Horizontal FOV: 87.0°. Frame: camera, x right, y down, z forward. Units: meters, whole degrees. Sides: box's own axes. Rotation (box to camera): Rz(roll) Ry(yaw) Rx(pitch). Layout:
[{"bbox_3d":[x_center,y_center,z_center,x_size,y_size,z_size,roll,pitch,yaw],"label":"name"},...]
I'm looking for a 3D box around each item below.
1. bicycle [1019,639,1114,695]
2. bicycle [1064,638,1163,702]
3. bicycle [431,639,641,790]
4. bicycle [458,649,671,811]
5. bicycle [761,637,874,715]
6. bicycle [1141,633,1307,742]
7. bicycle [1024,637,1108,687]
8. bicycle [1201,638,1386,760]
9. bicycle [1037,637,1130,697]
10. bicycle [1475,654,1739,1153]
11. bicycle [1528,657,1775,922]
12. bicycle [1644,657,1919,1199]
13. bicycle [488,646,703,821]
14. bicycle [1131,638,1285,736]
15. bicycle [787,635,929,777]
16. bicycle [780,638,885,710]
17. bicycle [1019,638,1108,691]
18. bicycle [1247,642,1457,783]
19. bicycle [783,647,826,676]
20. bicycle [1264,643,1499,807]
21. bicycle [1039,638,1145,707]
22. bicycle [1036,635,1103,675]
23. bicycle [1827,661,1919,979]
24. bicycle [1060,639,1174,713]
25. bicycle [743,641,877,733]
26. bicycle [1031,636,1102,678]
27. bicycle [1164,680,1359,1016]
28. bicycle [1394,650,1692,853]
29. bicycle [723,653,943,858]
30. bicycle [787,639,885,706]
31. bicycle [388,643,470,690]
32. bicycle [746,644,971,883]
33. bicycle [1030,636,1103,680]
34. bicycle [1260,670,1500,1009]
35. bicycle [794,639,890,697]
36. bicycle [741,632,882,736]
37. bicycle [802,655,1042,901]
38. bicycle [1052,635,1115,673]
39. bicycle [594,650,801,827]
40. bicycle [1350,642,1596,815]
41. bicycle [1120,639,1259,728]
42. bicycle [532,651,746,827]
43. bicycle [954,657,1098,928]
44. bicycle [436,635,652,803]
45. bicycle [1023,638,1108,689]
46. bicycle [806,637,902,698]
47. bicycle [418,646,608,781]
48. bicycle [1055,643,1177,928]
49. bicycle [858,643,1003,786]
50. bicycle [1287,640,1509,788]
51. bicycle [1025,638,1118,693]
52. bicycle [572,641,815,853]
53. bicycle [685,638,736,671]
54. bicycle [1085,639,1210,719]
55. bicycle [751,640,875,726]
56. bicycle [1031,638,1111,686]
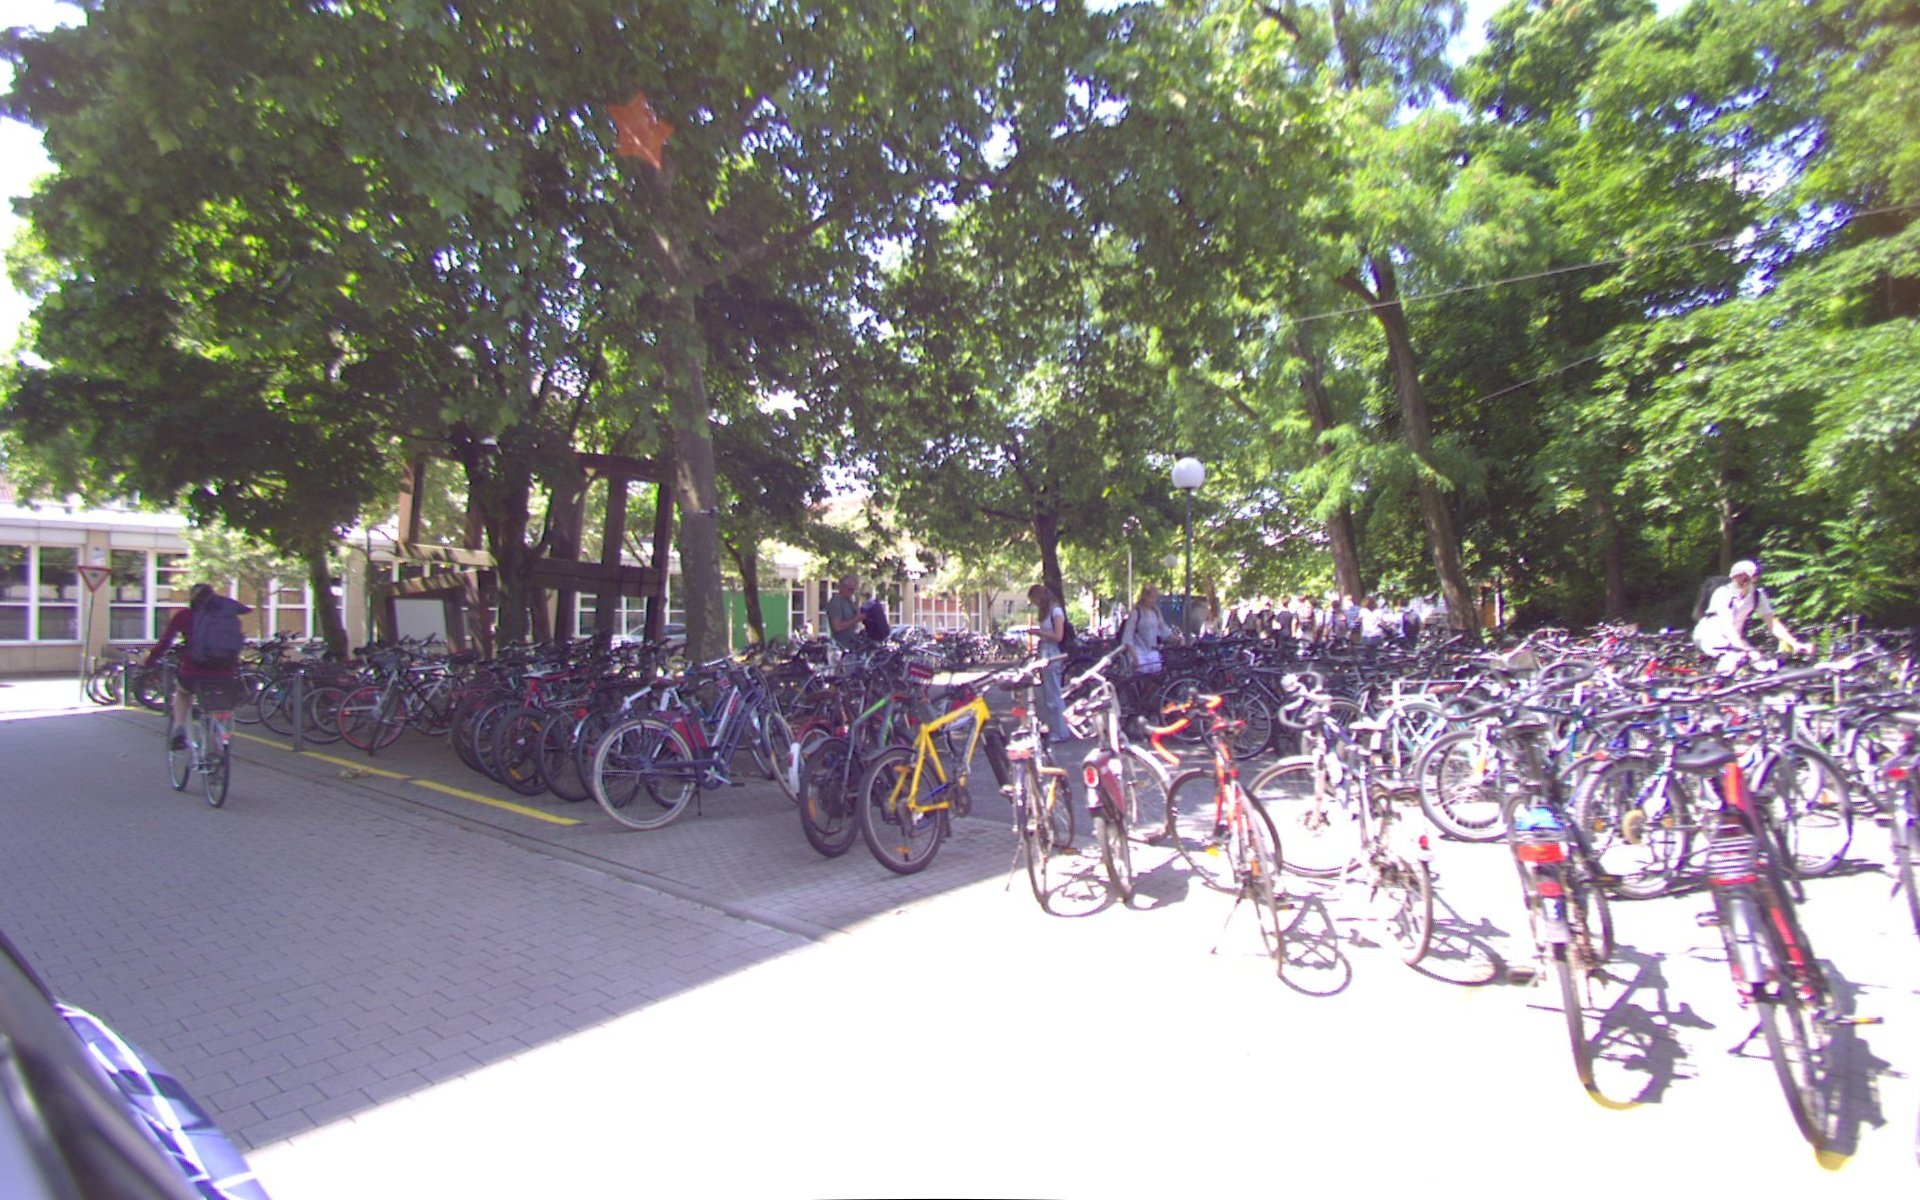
[{"bbox_3d":[2.104,1.330,20.158,1.835,1.092,0.473,-1,-1,4],"label":"bicycle"},{"bbox_3d":[2.684,1.226,17.813,1.677,1.092,0.473,-1,-1,4],"label":"bicycle"},{"bbox_3d":[-3.768,0.967,9.117,0.496,1.187,1.717,-1,-1,40],"label":"bicycle"},{"bbox_3d":[-3.155,0.988,8.233,0.495,1.116,1.682,-1,-1,30],"label":"bicycle"},{"bbox_3d":[-2.169,1.146,15.409,1.672,1.116,0.504,0,-1,-9],"label":"bicycle"},{"bbox_3d":[2.818,0.911,10.823,1.671,1.092,0.475,0,-1,-13],"label":"bicycle"},{"bbox_3d":[2.378,1.387,22.805,1.835,1.092,0.473,-1,-1,4],"label":"bicycle"},{"bbox_3d":[3.216,0.930,9.777,1.671,1.092,0.475,0,-1,-13],"label":"bicycle"},{"bbox_3d":[2.304,1.246,18.942,1.677,1.092,0.473,-1,-1,4],"label":"bicycle"},{"bbox_3d":[2.069,0.807,3.414,0.471,1.177,1.686,-1,-1,24],"label":"bicycle"},{"bbox_3d":[3.533,0.867,5.121,1.671,1.092,0.475,0,-1,-36],"label":"bicycle"},{"bbox_3d":[2.458,0.797,3.036,0.472,1.177,1.683,-1,-1,28],"label":"bicycle"},{"bbox_3d":[-2.772,0.962,7.875,0.472,1.154,1.683,-1,-1,29],"label":"bicycle"},{"bbox_3d":[2.903,1.013,11.898,1.674,1.092,0.474,-1,-1,-4],"label":"bicycle"},{"bbox_3d":[-0.953,0.977,9.887,0.501,1.229,1.682,-1,-1,29],"label":"bicycle"},{"bbox_3d":[-2.091,1.199,16.562,1.672,1.116,0.632,0,-1,-9],"label":"bicycle"},{"bbox_3d":[2.178,1.356,21.423,1.835,1.092,0.473,-1,-1,4],"label":"bicycle"},{"bbox_3d":[3.324,0.927,8.599,1.671,1.092,0.475,0,-1,-13],"label":"bicycle"},{"bbox_3d":[-6.403,2.523,41.772,0.639,1.116,1.797,0,-2,37],"label":"bicycle"},{"bbox_3d":[3.111,0.884,7.468,1.670,1.092,0.475,0,-1,-18],"label":"bicycle"},{"bbox_3d":[2.142,1.175,16.527,1.677,1.092,0.473,-1,-1,4],"label":"bicycle"},{"bbox_3d":[3.071,1.546,28.435,1.835,1.092,0.473,-1,-1,4],"label":"bicycle"},{"bbox_3d":[4.153,0.832,4.197,1.672,1.092,0.475,0,-1,-37],"label":"bicycle"},{"bbox_3d":[2.397,1.159,15.552,1.677,1.092,0.473,-1,-1,4],"label":"bicycle"},{"bbox_3d":[-1.959,1.112,13.168,1.671,1.116,0.504,0,-1,-13],"label":"bicycle"},{"bbox_3d":[2.846,1.524,27.150,1.835,1.092,0.473,-1,-1,4],"label":"bicycle"},{"bbox_3d":[1.201,0.912,4.314,0.468,1.026,1.696,-1,-1,6],"label":"bicycle"},{"bbox_3d":[3.524,0.874,6.129,1.671,1.092,0.475,0,-1,-14],"label":"bicycle"},{"bbox_3d":[-0.780,0.944,6.728,0.563,1.116,1.682,-1,-1,29],"label":"bicycle"},{"bbox_3d":[-2.184,1.254,17.777,1.672,1.116,0.504,0,-1,-9],"label":"bicycle"},{"bbox_3d":[-14.086,1.762,26.871,1.854,1.181,0.808,2,-1,-29],"label":"bicycle"},{"bbox_3d":[-0.551,0.892,6.148,0.472,1.196,1.682,-1,-1,29],"label":"bicycle"},{"bbox_3d":[2.722,1.483,25.945,1.835,1.092,0.473,-1,-1,4],"label":"bicycle"},{"bbox_3d":[1.706,0.886,4.362,0.468,1.070,1.696,-1,-1,6],"label":"bicycle"},{"bbox_3d":[-2.382,1.369,20.473,1.882,1.116,0.502,-1,-1,4],"label":"bicycle"},{"bbox_3d":[-1.853,1.016,12.557,1.671,1.209,0.577,0,-1,-13],"label":"bicycle"},{"bbox_3d":[-0.148,0.914,5.805,0.580,1.116,1.682,-1,-1,29],"label":"bicycle"},{"bbox_3d":[3.701,1.622,30.339,1.835,1.092,0.473,-1,-1,4],"label":"bicycle"},{"bbox_3d":[-1.908,0.963,7.607,0.472,1.116,1.682,-1,-1,29],"label":"bicycle"},{"bbox_3d":[3.604,0.859,7.104,1.670,1.092,0.475,0,-1,-18],"label":"bicycle"},{"bbox_3d":[2.970,1.066,13.135,1.674,1.092,0.474,-1,-1,-4],"label":"bicycle"},{"bbox_3d":[-2.363,0.974,7.649,0.472,1.116,1.683,-1,-1,29],"label":"bicycle"},{"bbox_3d":[0.401,0.893,5.323,0.469,1.116,1.692,-1,-1,13],"label":"bicycle"},{"bbox_3d":[-3.473,0.939,8.601,0.495,1.245,1.721,-1,-1,33],"label":"bicycle"},{"bbox_3d":[2.307,1.387,22.280,1.835,1.092,0.473,-1,-1,4],"label":"bicycle"},{"bbox_3d":[-1.993,1.265,19.154,1.756,1.116,0.502,-1,-1,4],"label":"bicycle"},{"bbox_3d":[-4.208,1.025,9.663,0.495,1.116,1.724,-1,-1,28],"label":"bicycle"},{"bbox_3d":[0.848,0.831,5.213,0.469,1.166,1.692,-1,-1,13],"label":"bicycle"},{"bbox_3d":[-0.224,0.967,9.112,0.501,1.116,1.682,-1,-1,29],"label":"bicycle"},{"bbox_3d":[3.525,0.885,8.155,1.671,1.092,0.475,0,-1,-13],"label":"bicycle"},{"bbox_3d":[2.267,1.332,20.706,1.835,1.092,0.473,-1,-1,4],"label":"bicycle"},{"bbox_3d":[-1.746,0.910,6.877,0.535,1.208,1.681,-1,-1,32],"label":"bicycle"},{"bbox_3d":[-9.568,2.072,38.907,0.674,1.149,1.861,0,1,41],"label":"bicycle"},{"bbox_3d":[2.644,1.118,14.356,1.677,1.092,0.473,-1,-1,4],"label":"bicycle"},{"bbox_3d":[-2.058,1.142,14.115,1.671,1.116,0.504,0,-1,-13],"label":"bicycle"},{"bbox_3d":[2.603,1.451,23.845,1.835,1.092,0.473,-1,-1,4],"label":"bicycle"}]
